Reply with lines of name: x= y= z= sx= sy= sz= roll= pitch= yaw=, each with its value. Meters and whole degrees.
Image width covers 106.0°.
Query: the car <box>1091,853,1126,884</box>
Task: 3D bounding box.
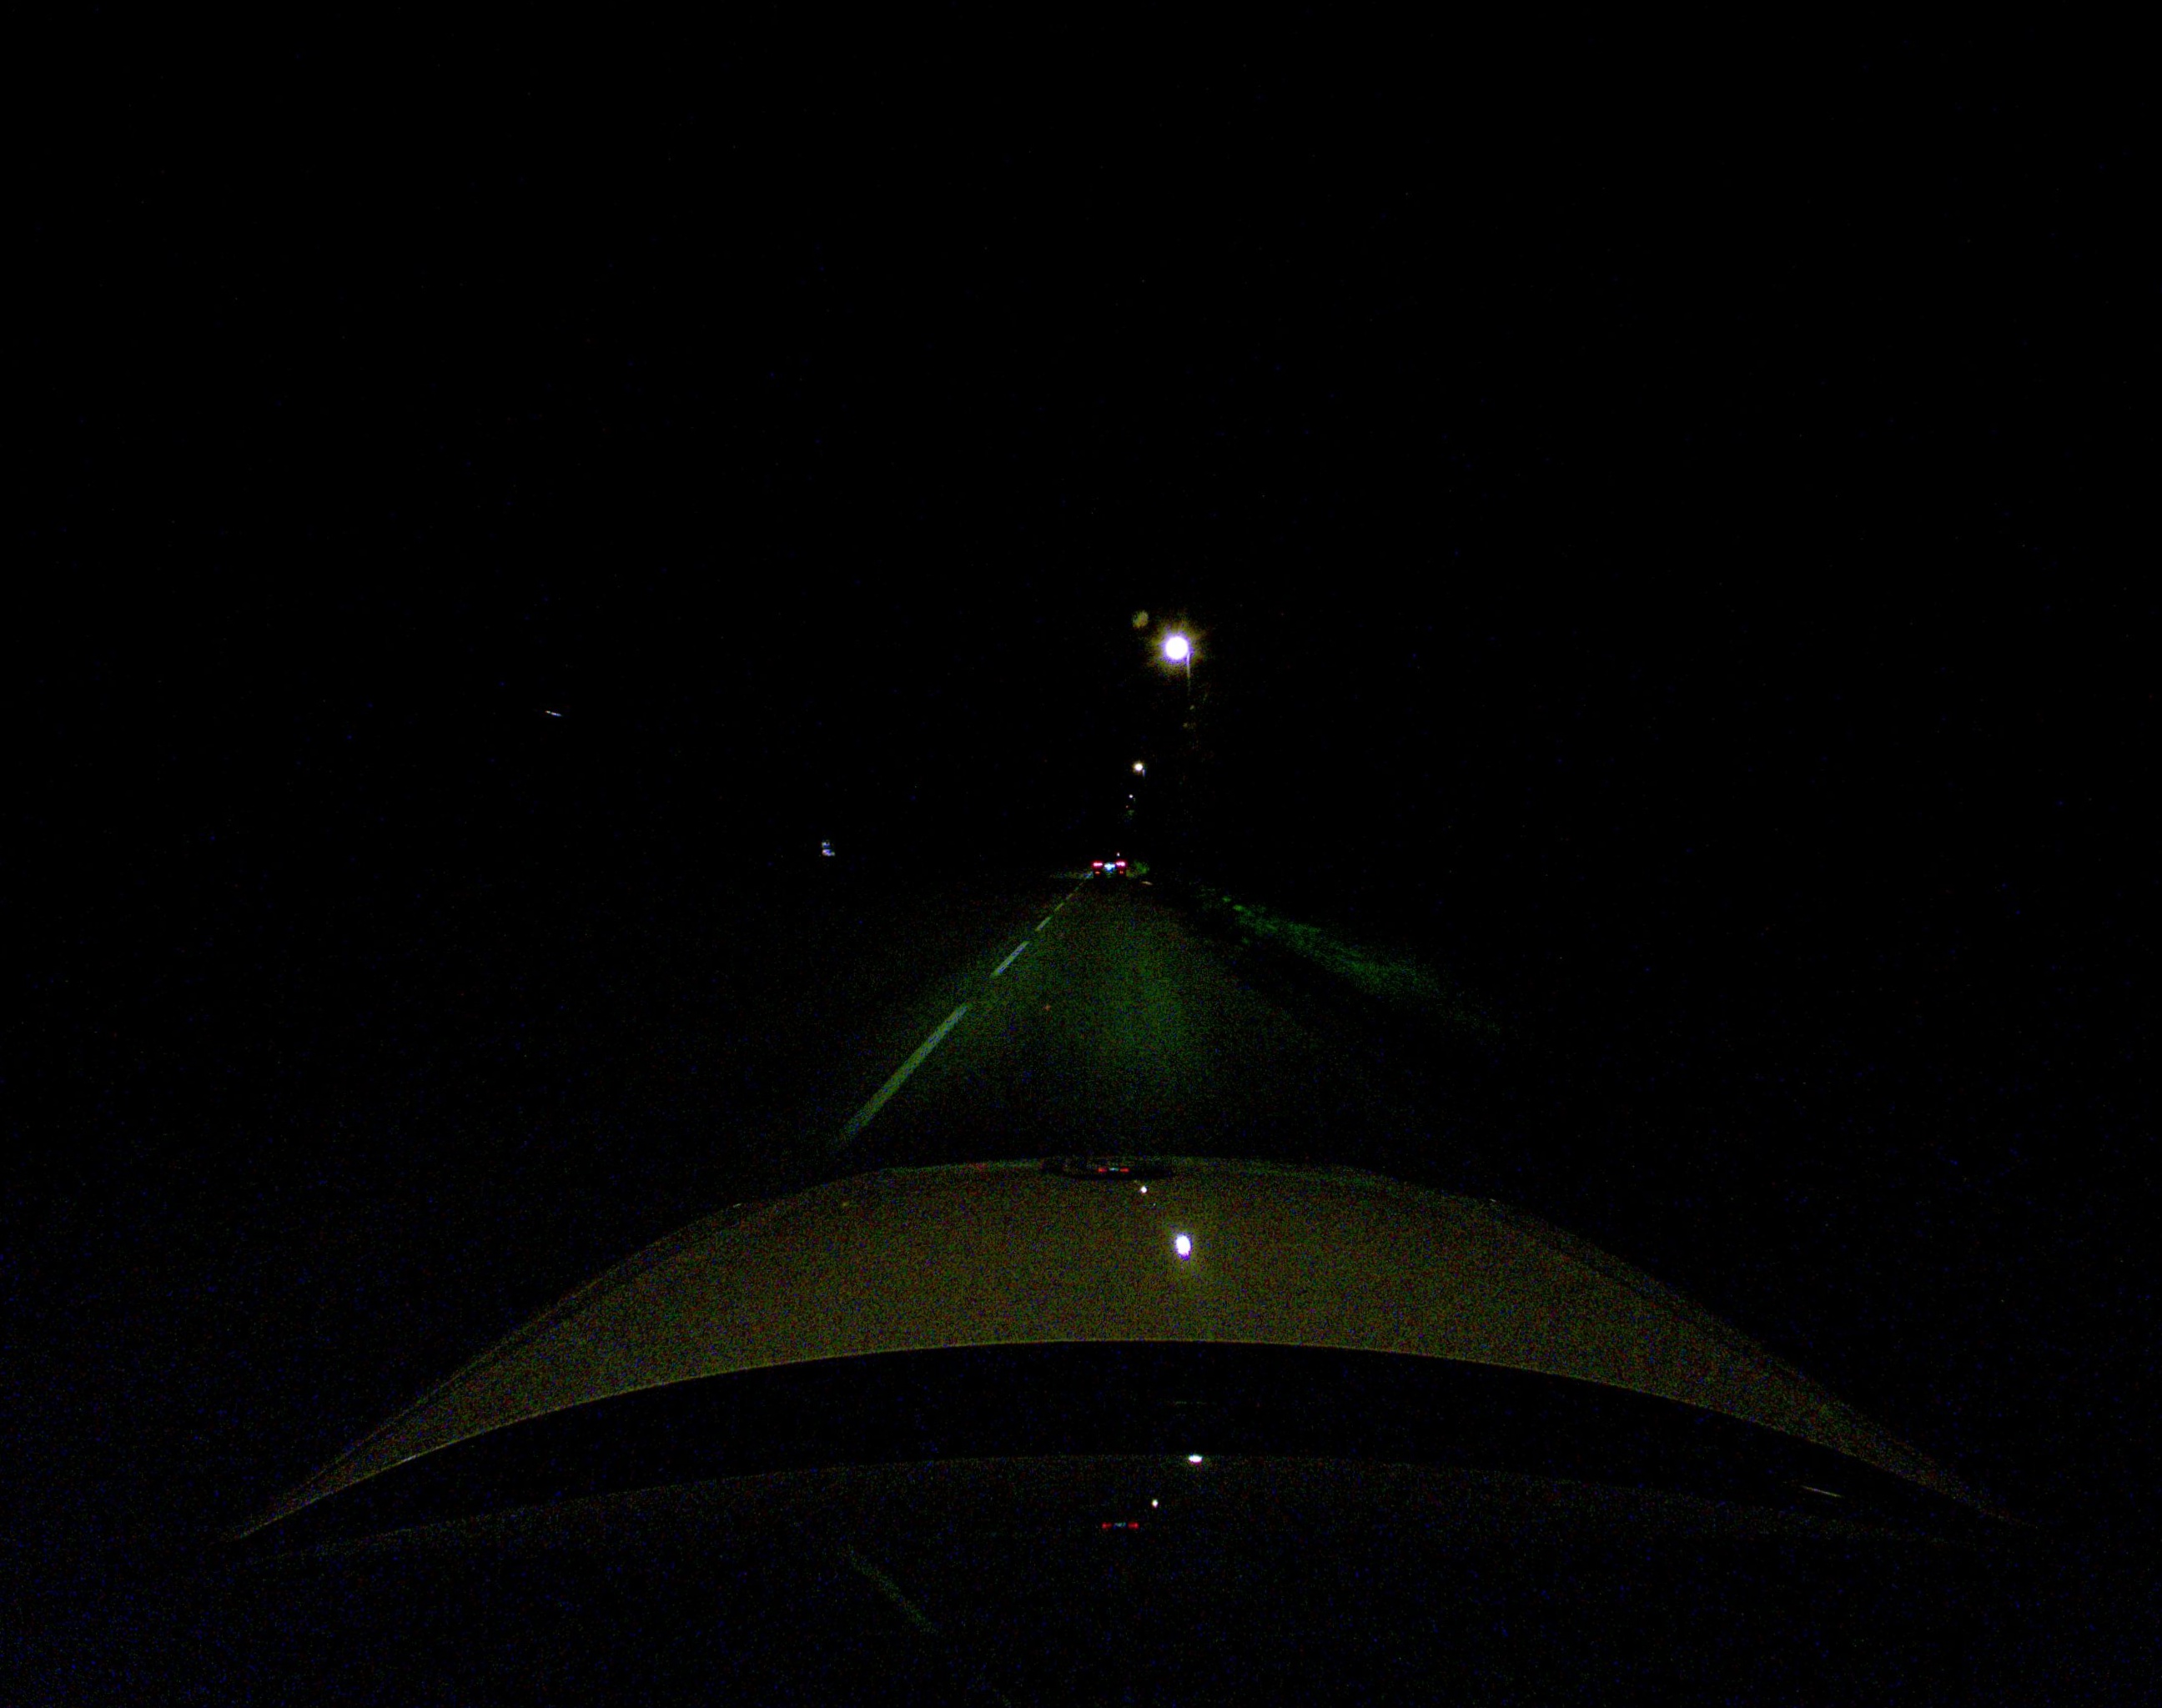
car: x=1.526 y=0.776 z=45.421 sx=1.808 sy=1.573 sz=3.944 roll=-2 pitch=0 yaw=1
